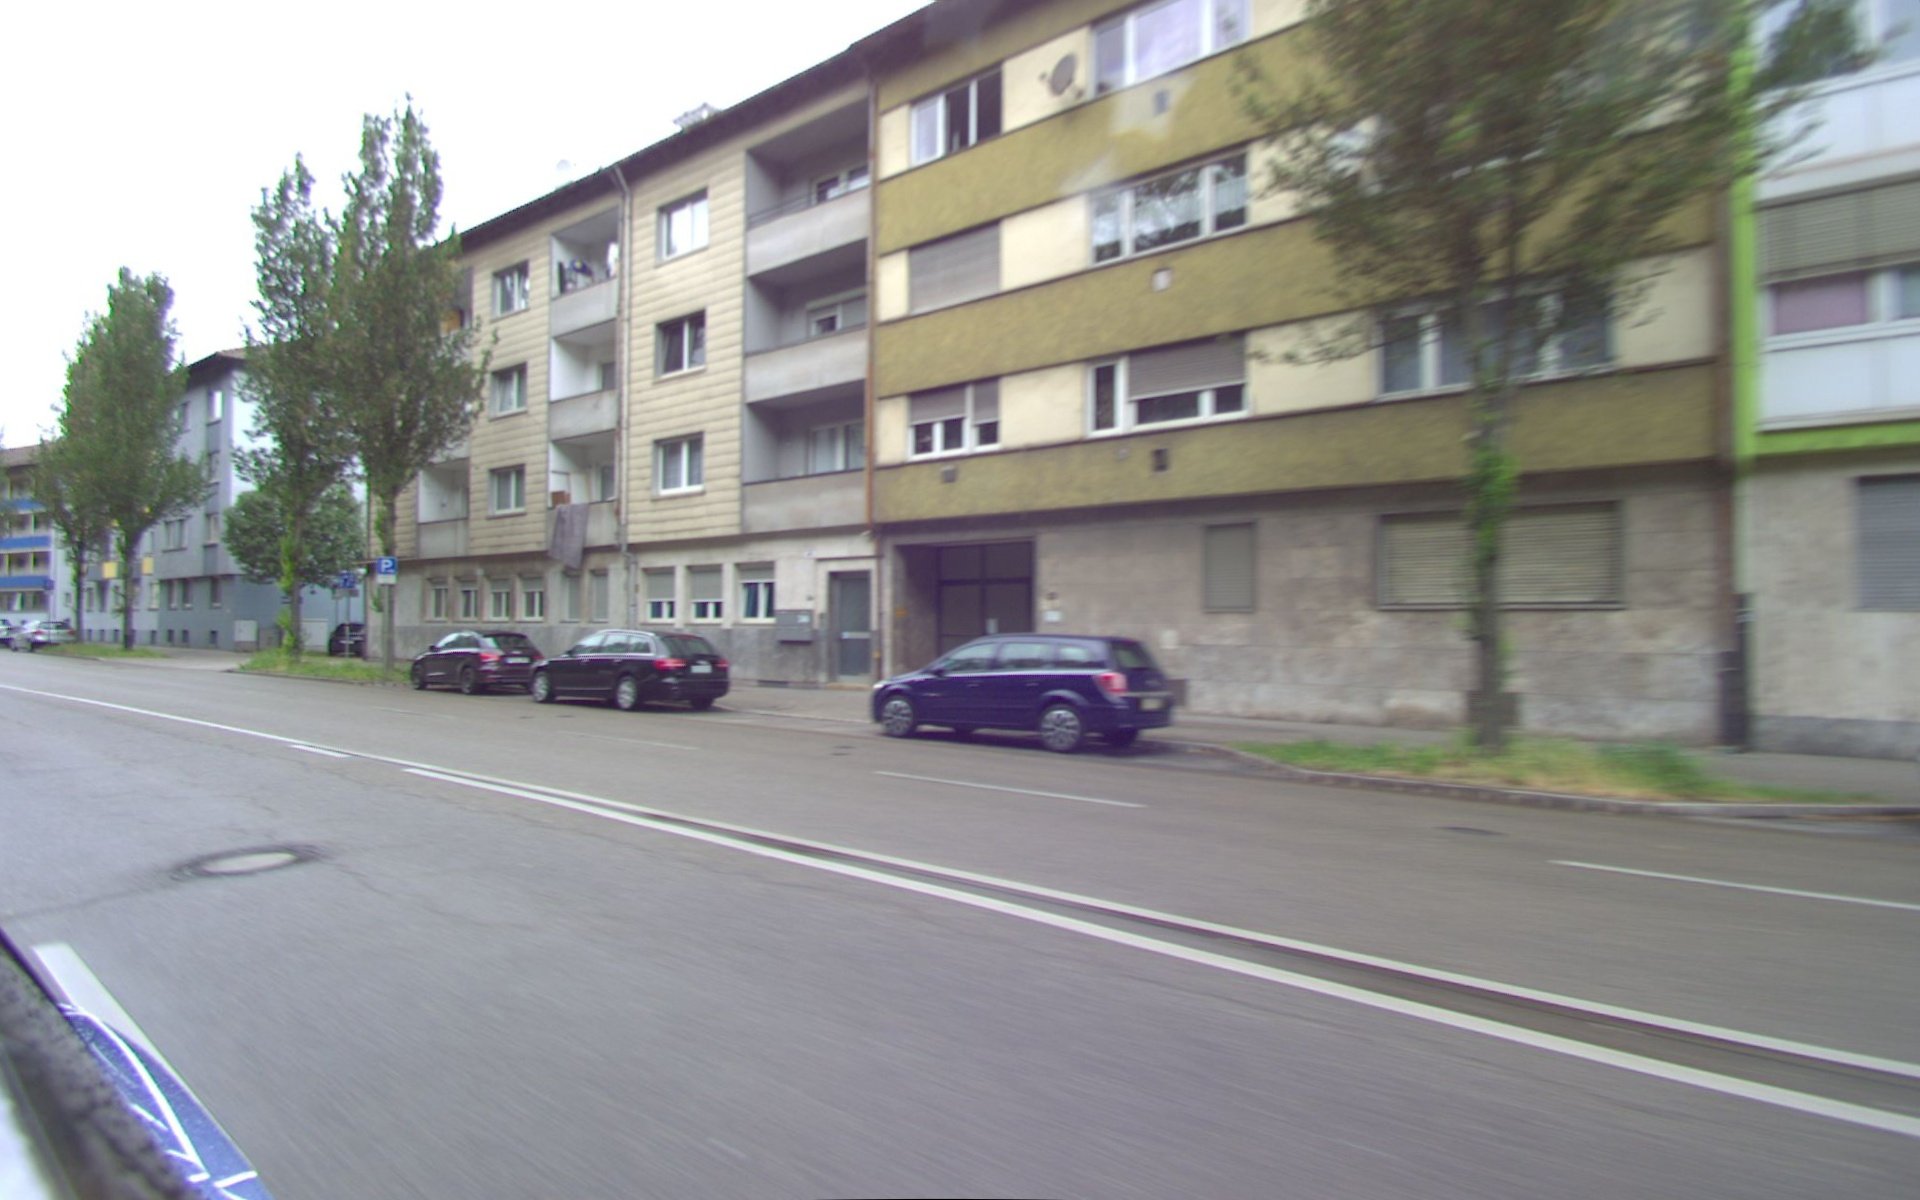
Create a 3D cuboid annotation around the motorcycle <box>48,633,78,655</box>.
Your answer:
[{"bbox_3d":[-57.888,2.827,65.306,2.223,1.424,0.671,-1,0,25],"label":"motorcycle"}]

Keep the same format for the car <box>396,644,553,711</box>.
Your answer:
[{"bbox_3d":[-11.106,1.712,23.056,3.983,1.397,1.610,-2,-4,38],"label":"car"}]

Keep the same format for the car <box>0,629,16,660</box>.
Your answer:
[{"bbox_3d":[-51.833,2.345,53.467,4.520,1.616,1.749,-1,-4,33],"label":"car"}]

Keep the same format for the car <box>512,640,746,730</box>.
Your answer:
[{"bbox_3d":[-6.387,1.555,19.283,4.781,1.500,1.800,-2,-5,37],"label":"car"}]

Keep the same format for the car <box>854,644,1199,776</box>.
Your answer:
[{"bbox_3d":[0.782,1.379,13.743,4.508,1.500,1.701,-2,-5,38],"label":"car"}]

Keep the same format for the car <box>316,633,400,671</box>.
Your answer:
[{"bbox_3d":[-25.767,2.216,43.460,1.686,1.505,4.008,3,-3,-9],"label":"car"}]

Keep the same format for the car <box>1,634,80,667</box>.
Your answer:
[{"bbox_3d":[-42.854,2.339,47.161,4.194,1.464,1.710,-1,-3,34],"label":"car"}]
